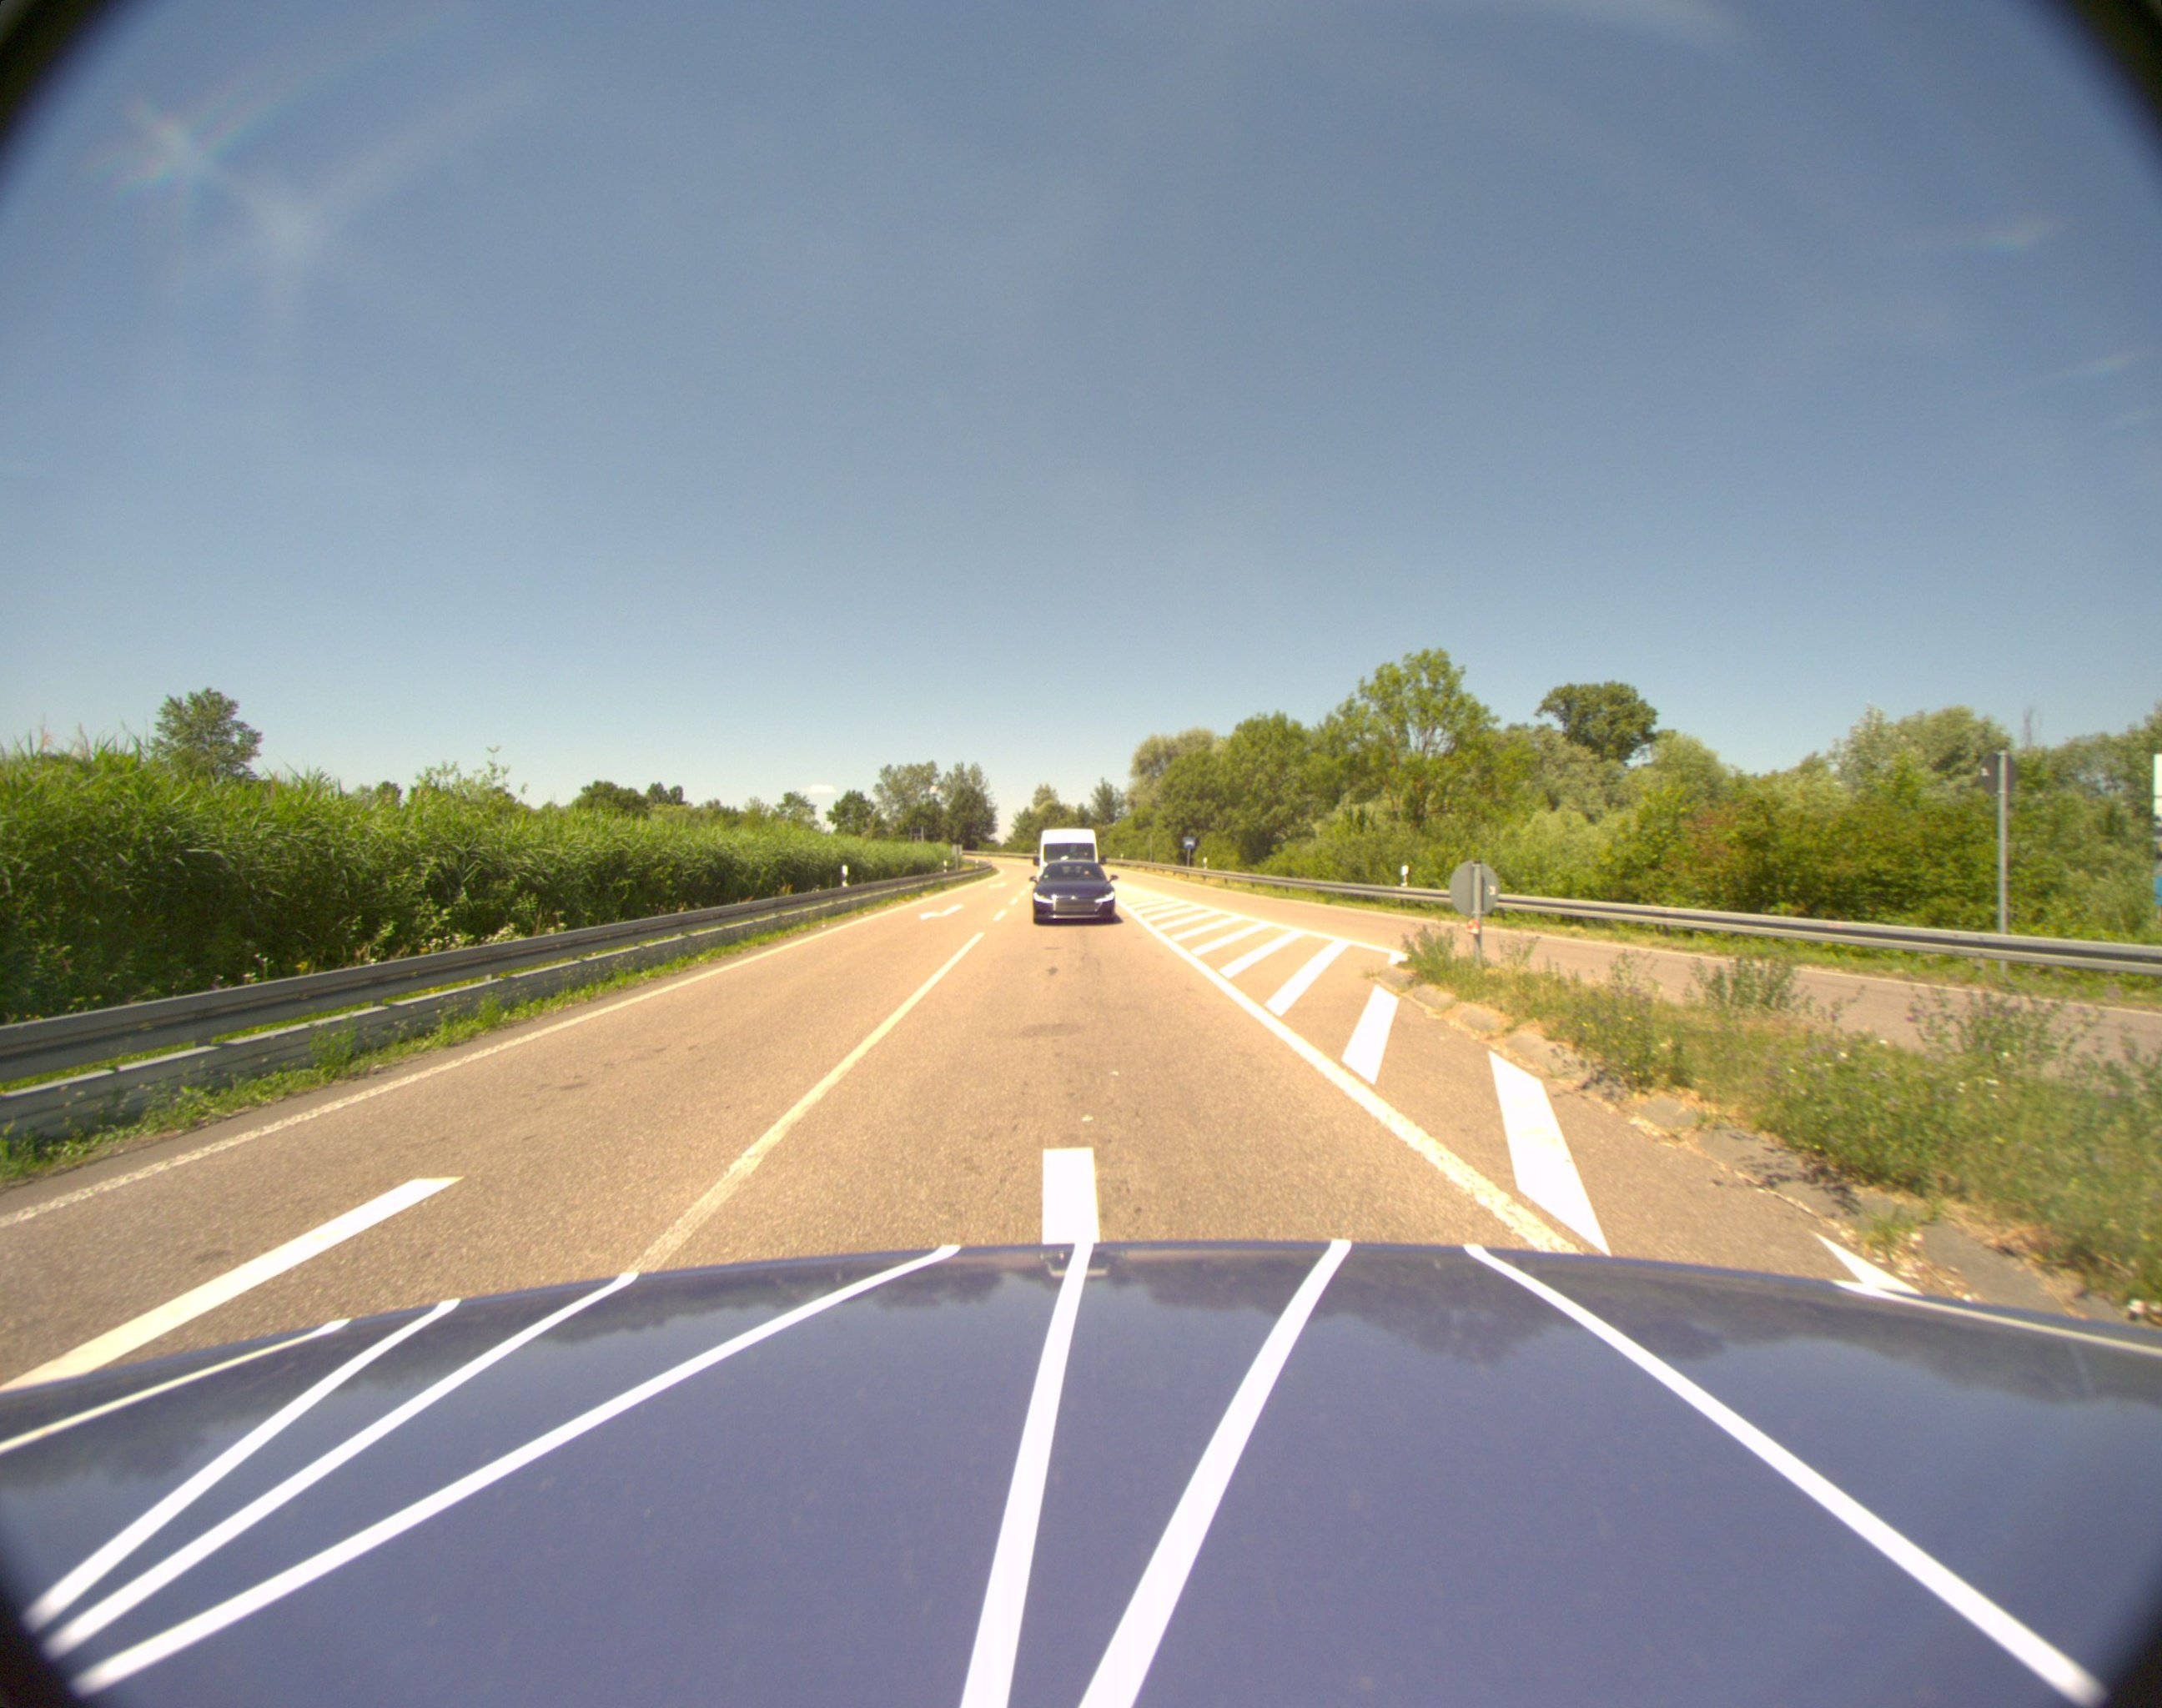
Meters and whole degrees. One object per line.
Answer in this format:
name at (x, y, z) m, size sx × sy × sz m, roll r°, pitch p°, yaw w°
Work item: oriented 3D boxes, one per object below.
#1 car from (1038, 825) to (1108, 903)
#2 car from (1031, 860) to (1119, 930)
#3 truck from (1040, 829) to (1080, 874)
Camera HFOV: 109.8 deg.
car at (-0.279, 0.326, 27.582) m, size 2.228 × 2.480 × 5.982 m, roll -1°, pitch 0°, yaw 0°
car at (-0.148, 0.887, 18.440) m, size 1.847 × 1.415 × 4.562 m, roll -1°, pitch 0°, yaw 0°
truck at (-1.739, -0.191, 58.302) m, size 2.694 × 3.177 × 9.173 m, roll 0°, pitch 0°, yaw -4°
